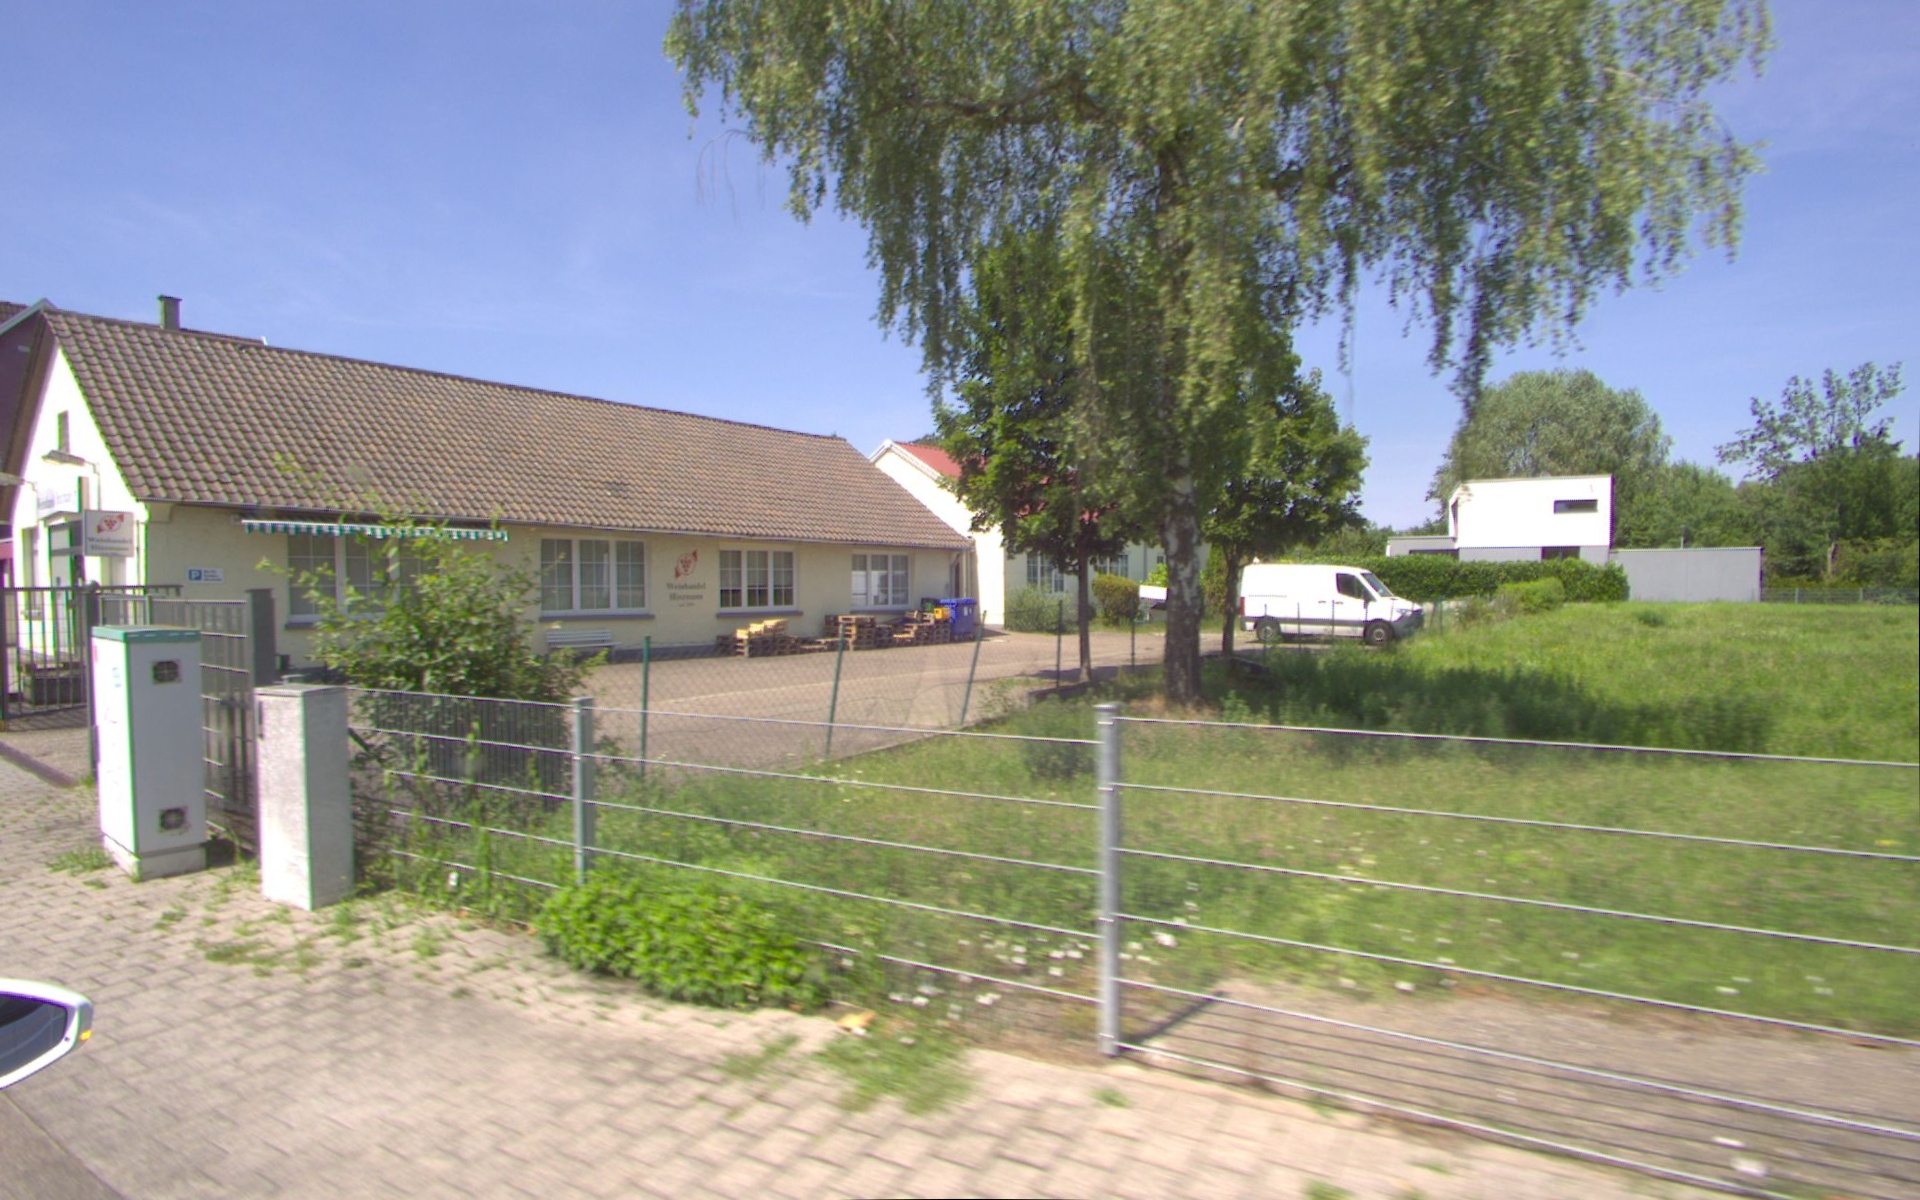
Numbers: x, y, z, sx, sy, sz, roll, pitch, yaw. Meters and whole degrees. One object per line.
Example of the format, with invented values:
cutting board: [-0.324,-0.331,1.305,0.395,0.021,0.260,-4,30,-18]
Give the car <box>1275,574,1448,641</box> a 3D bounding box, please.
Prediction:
car: [13.041,0.268,32.632,4.868,2.040,2.056,-1,1,36]

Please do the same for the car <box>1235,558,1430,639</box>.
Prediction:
car: [11.126,-0.011,30.053,5.114,2.231,2.202,-1,1,34]
